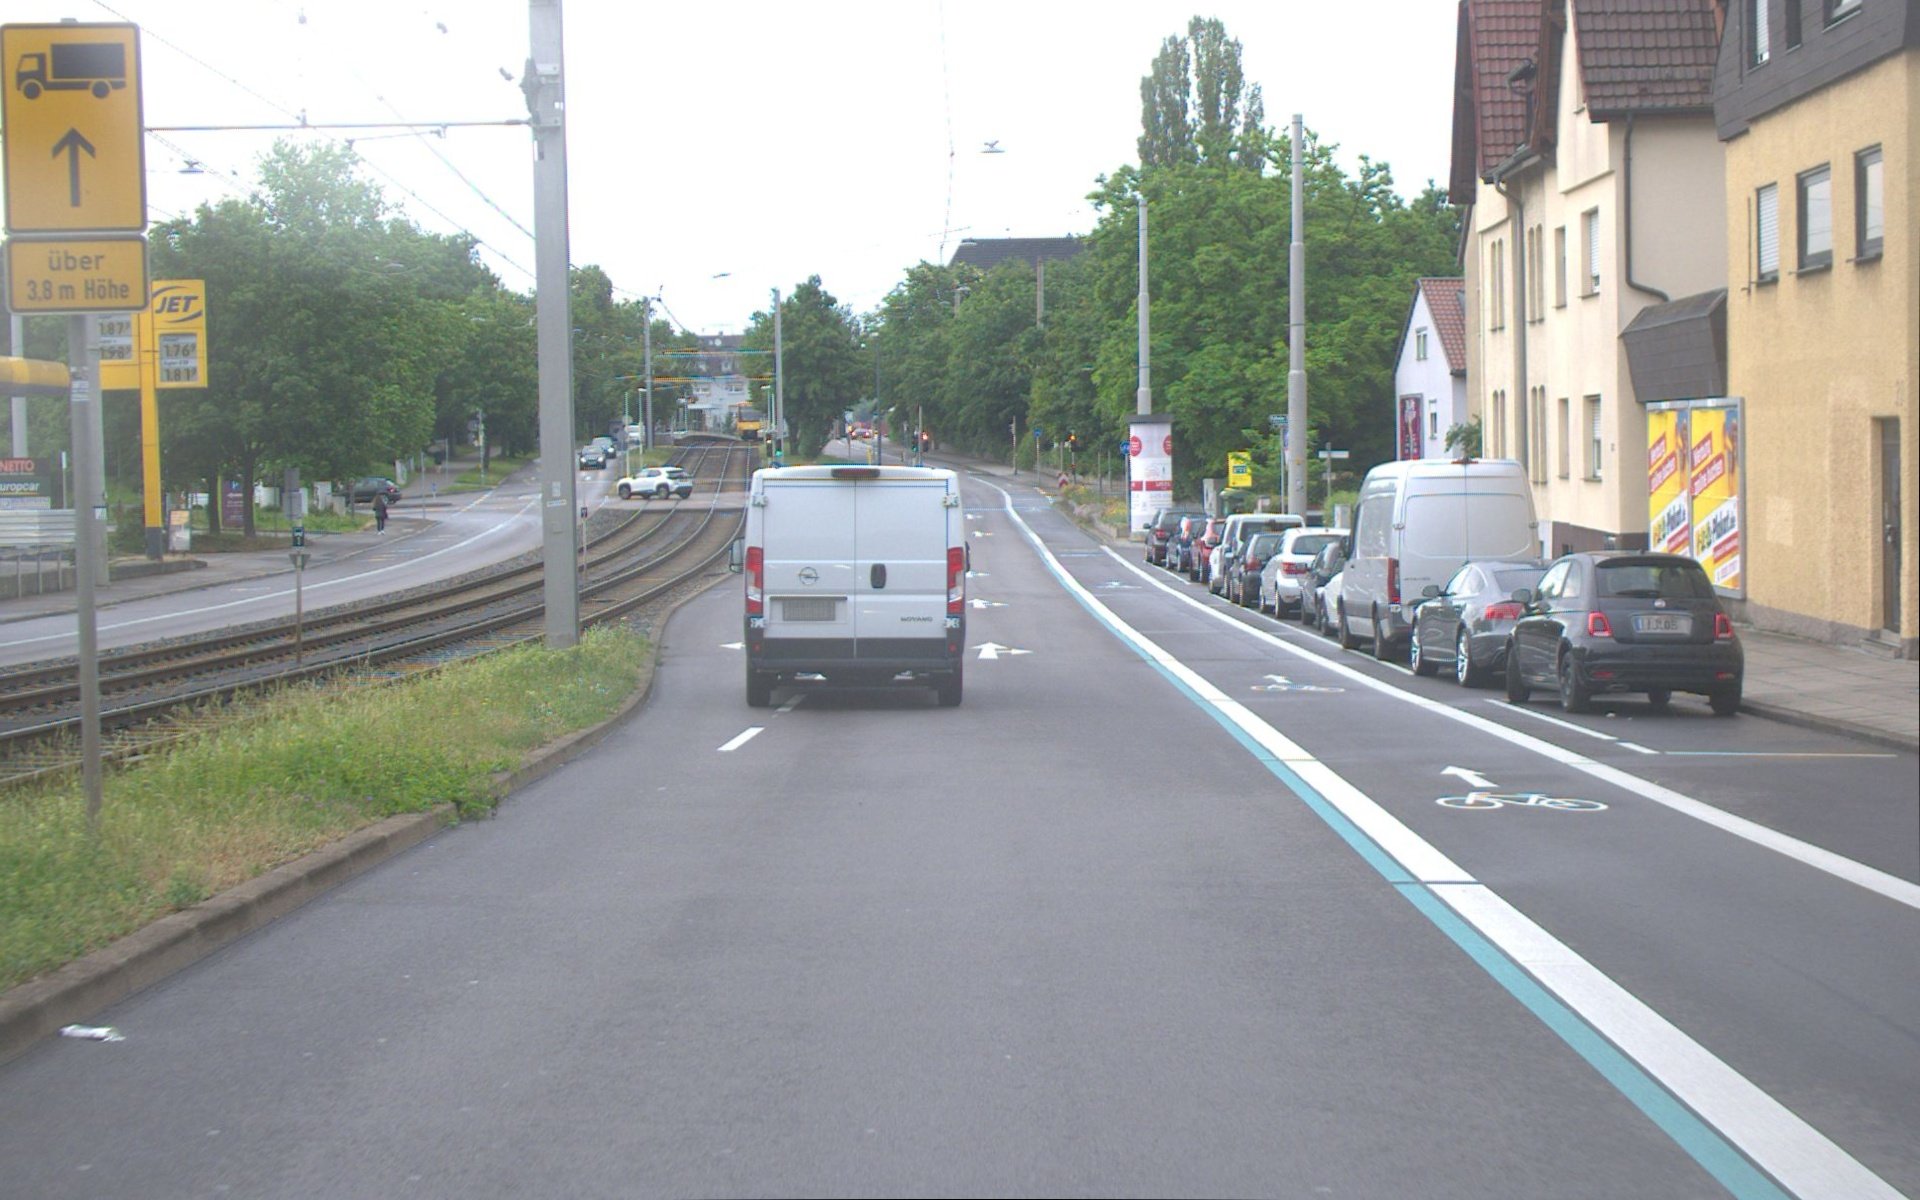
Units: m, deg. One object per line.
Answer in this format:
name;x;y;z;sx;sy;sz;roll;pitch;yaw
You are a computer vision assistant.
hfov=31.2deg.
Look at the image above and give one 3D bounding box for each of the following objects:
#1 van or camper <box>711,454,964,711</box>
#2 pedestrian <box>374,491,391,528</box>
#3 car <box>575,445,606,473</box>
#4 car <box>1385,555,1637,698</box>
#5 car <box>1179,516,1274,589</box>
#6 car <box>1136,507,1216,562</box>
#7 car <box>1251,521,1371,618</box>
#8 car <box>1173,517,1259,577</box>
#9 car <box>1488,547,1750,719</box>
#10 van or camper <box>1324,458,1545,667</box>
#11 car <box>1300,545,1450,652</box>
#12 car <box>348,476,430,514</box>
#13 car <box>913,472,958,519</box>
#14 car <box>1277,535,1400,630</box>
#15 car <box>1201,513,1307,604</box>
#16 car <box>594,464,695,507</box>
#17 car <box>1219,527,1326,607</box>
van or camper;-1.242;-0.192;32.970;2.198;2.245;4.685;1;1;-4
pedestrian;-22.831;-3.581;135.913;0.612;1.470;0.643;-1;1;-13
car;-23.758;-9.064;221.272;1.690;1.706;3.777;1;1;-2
car;6.103;0.253;38.568;1.788;1.401;4.554;1;1;-4
car;6.376;-1.168;82.525;1.847;1.640;3.955;1;2;-2
car;6.005;-1.833;95.906;1.847;1.494;3.955;1;1;-2
car;6.233;-0.582;61.436;1.646;1.609;4.105;1;2;-1
car;6.693;-1.403;90.248;1.847;1.494;3.955;1;1;-2
car;6.209;0.269;32.719;1.565;1.493;3.513;2;1;-4
van or camper;6.198;-0.572;45.643;1.993;2.554;6.043;1;2;0
car;6.171;-0.055;51.470;1.708;1.441;4.041;1;2;0
car;-28.508;-5.252;171.739;3.986;1.842;2.001;-1;1;-8
car;-1.113;-4.678;154.645;1.993;2.007;4.000;1;1;-1
car;6.171;-0.316;56.345;1.626;1.443;3.707;1;2;1
car;6.173;-0.902;72.569;1.747;1.801;3.955;1;2;-2
car;-15.639;-5.667;170.542;4.518;2.007;1.998;2;1;21
car;6.041;-0.668;66.858;1.646;1.441;3.955;1;2;-1
